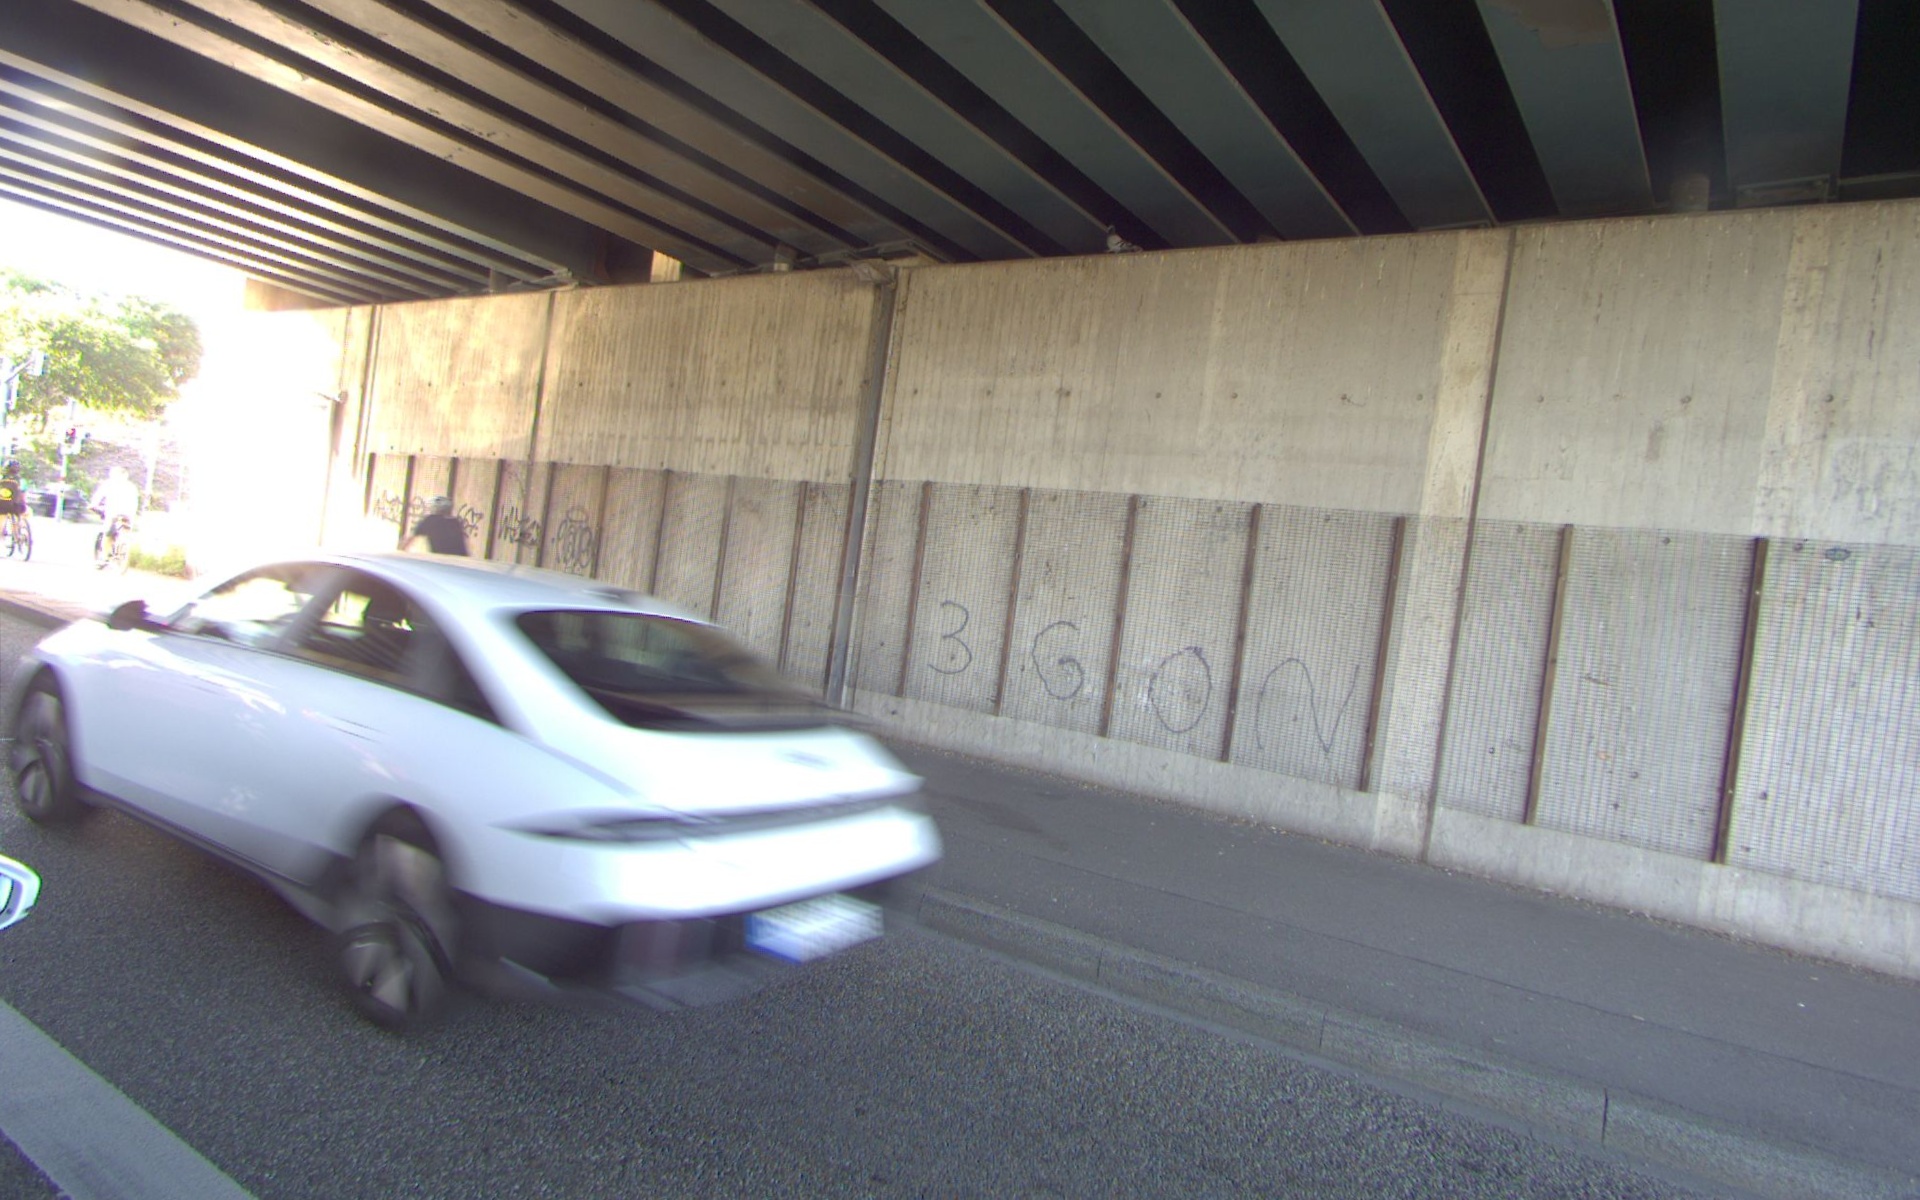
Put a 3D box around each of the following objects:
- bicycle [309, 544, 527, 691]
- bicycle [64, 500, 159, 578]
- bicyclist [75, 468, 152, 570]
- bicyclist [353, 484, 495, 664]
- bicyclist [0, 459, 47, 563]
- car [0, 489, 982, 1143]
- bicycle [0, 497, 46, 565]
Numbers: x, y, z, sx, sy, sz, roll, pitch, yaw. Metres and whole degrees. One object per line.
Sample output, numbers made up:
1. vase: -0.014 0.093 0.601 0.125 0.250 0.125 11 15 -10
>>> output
1. bicycle: -5.587 0.146 10.305 2.428 1.161 0.766 8 3 31
2. bicycle: -14.214 -1.020 16.846 1.577 1.126 0.682 6 0 31
3. bicyclist: -14.176 -1.357 16.852 0.723 1.581 0.670 7 0 32
4. bicyclist: -5.436 -0.258 10.213 0.871 1.674 0.748 7 -1 31
5. bicyclist: -16.093 -1.510 17.070 0.635 1.647 0.676 6 -2 42
6. car: -2.394 0.515 4.511 4.585 1.473 1.750 7 -2 30
7. bicycle: -16.062 -1.183 17.006 1.508 1.036 0.676 6 -2 43
